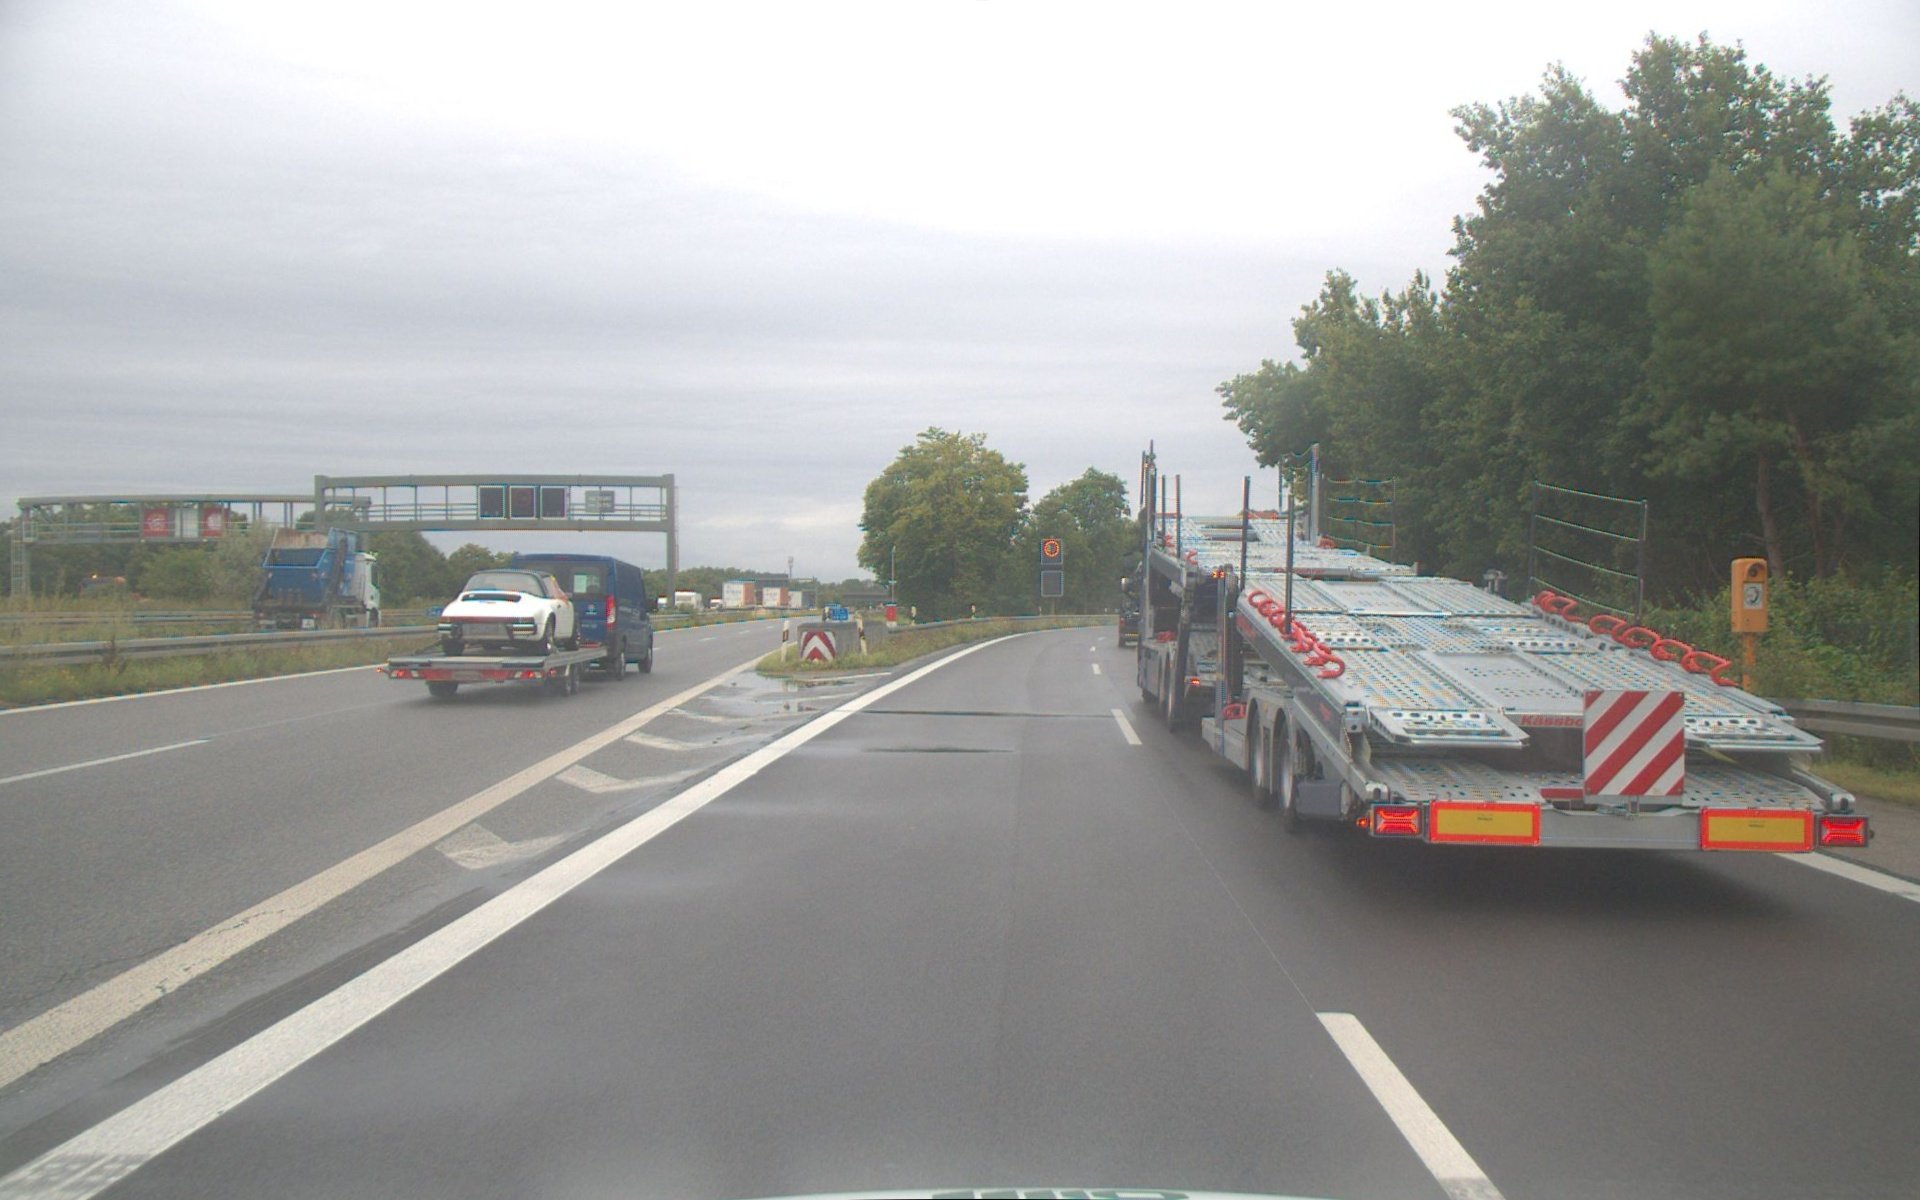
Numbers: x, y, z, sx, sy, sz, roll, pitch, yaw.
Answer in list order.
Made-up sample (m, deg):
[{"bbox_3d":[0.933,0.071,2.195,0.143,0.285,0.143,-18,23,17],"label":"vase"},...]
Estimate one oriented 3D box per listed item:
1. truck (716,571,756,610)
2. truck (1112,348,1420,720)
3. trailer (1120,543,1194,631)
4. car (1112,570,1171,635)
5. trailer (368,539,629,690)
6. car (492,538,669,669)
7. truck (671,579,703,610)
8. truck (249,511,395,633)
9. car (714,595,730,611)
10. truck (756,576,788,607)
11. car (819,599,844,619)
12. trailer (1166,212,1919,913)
[{"bbox_3d":[-26.484,-1.095,195.900,3.658,4.494,10.190,1,0,-3],"label":"truck"},{"bbox_3d":[3.825,-0.760,22.986,2.682,4.037,9.130,2,0,1],"label":"truck"},{"bbox_3d":[10.267,-0.681,86.253,3.376,4.069,12.036,3,1,7],"label":"trailer"},{"bbox_3d":[6.882,0.071,62.262,2.065,2.304,5.901,0,0,8],"label":"car"},{"bbox_3d":[-7.031,0.196,26.215,2.435,2.029,7.059,1,0,-3],"label":"trailer"},{"bbox_3d":[-7.366,0.055,32.847,2.325,2.306,6.253,1,0,-3],"label":"car"},{"bbox_3d":[-25.118,-0.509,152.181,2.198,2.751,5.276,1,0,-3],"label":"truck"},{"bbox_3d":[-21.840,-0.885,57.075,2.586,3.879,7.337,1,-1,-4],"label":"truck"},{"bbox_3d":[-31.715,0.367,220.845,1.695,2.049,3.998,1,-1,-3],"label":"car"},{"bbox_3d":[-27.724,-1.248,244.333,3.658,4.494,11.891,1,0,-3],"label":"truck"},{"bbox_3d":[-11.173,0.791,143.816,1.922,1.666,5.622,1,0,-3],"label":"car"},{"bbox_3d":[3.549,-0.206,13.200,2.720,3.342,10.409,1,0,1],"label":"trailer"}]
